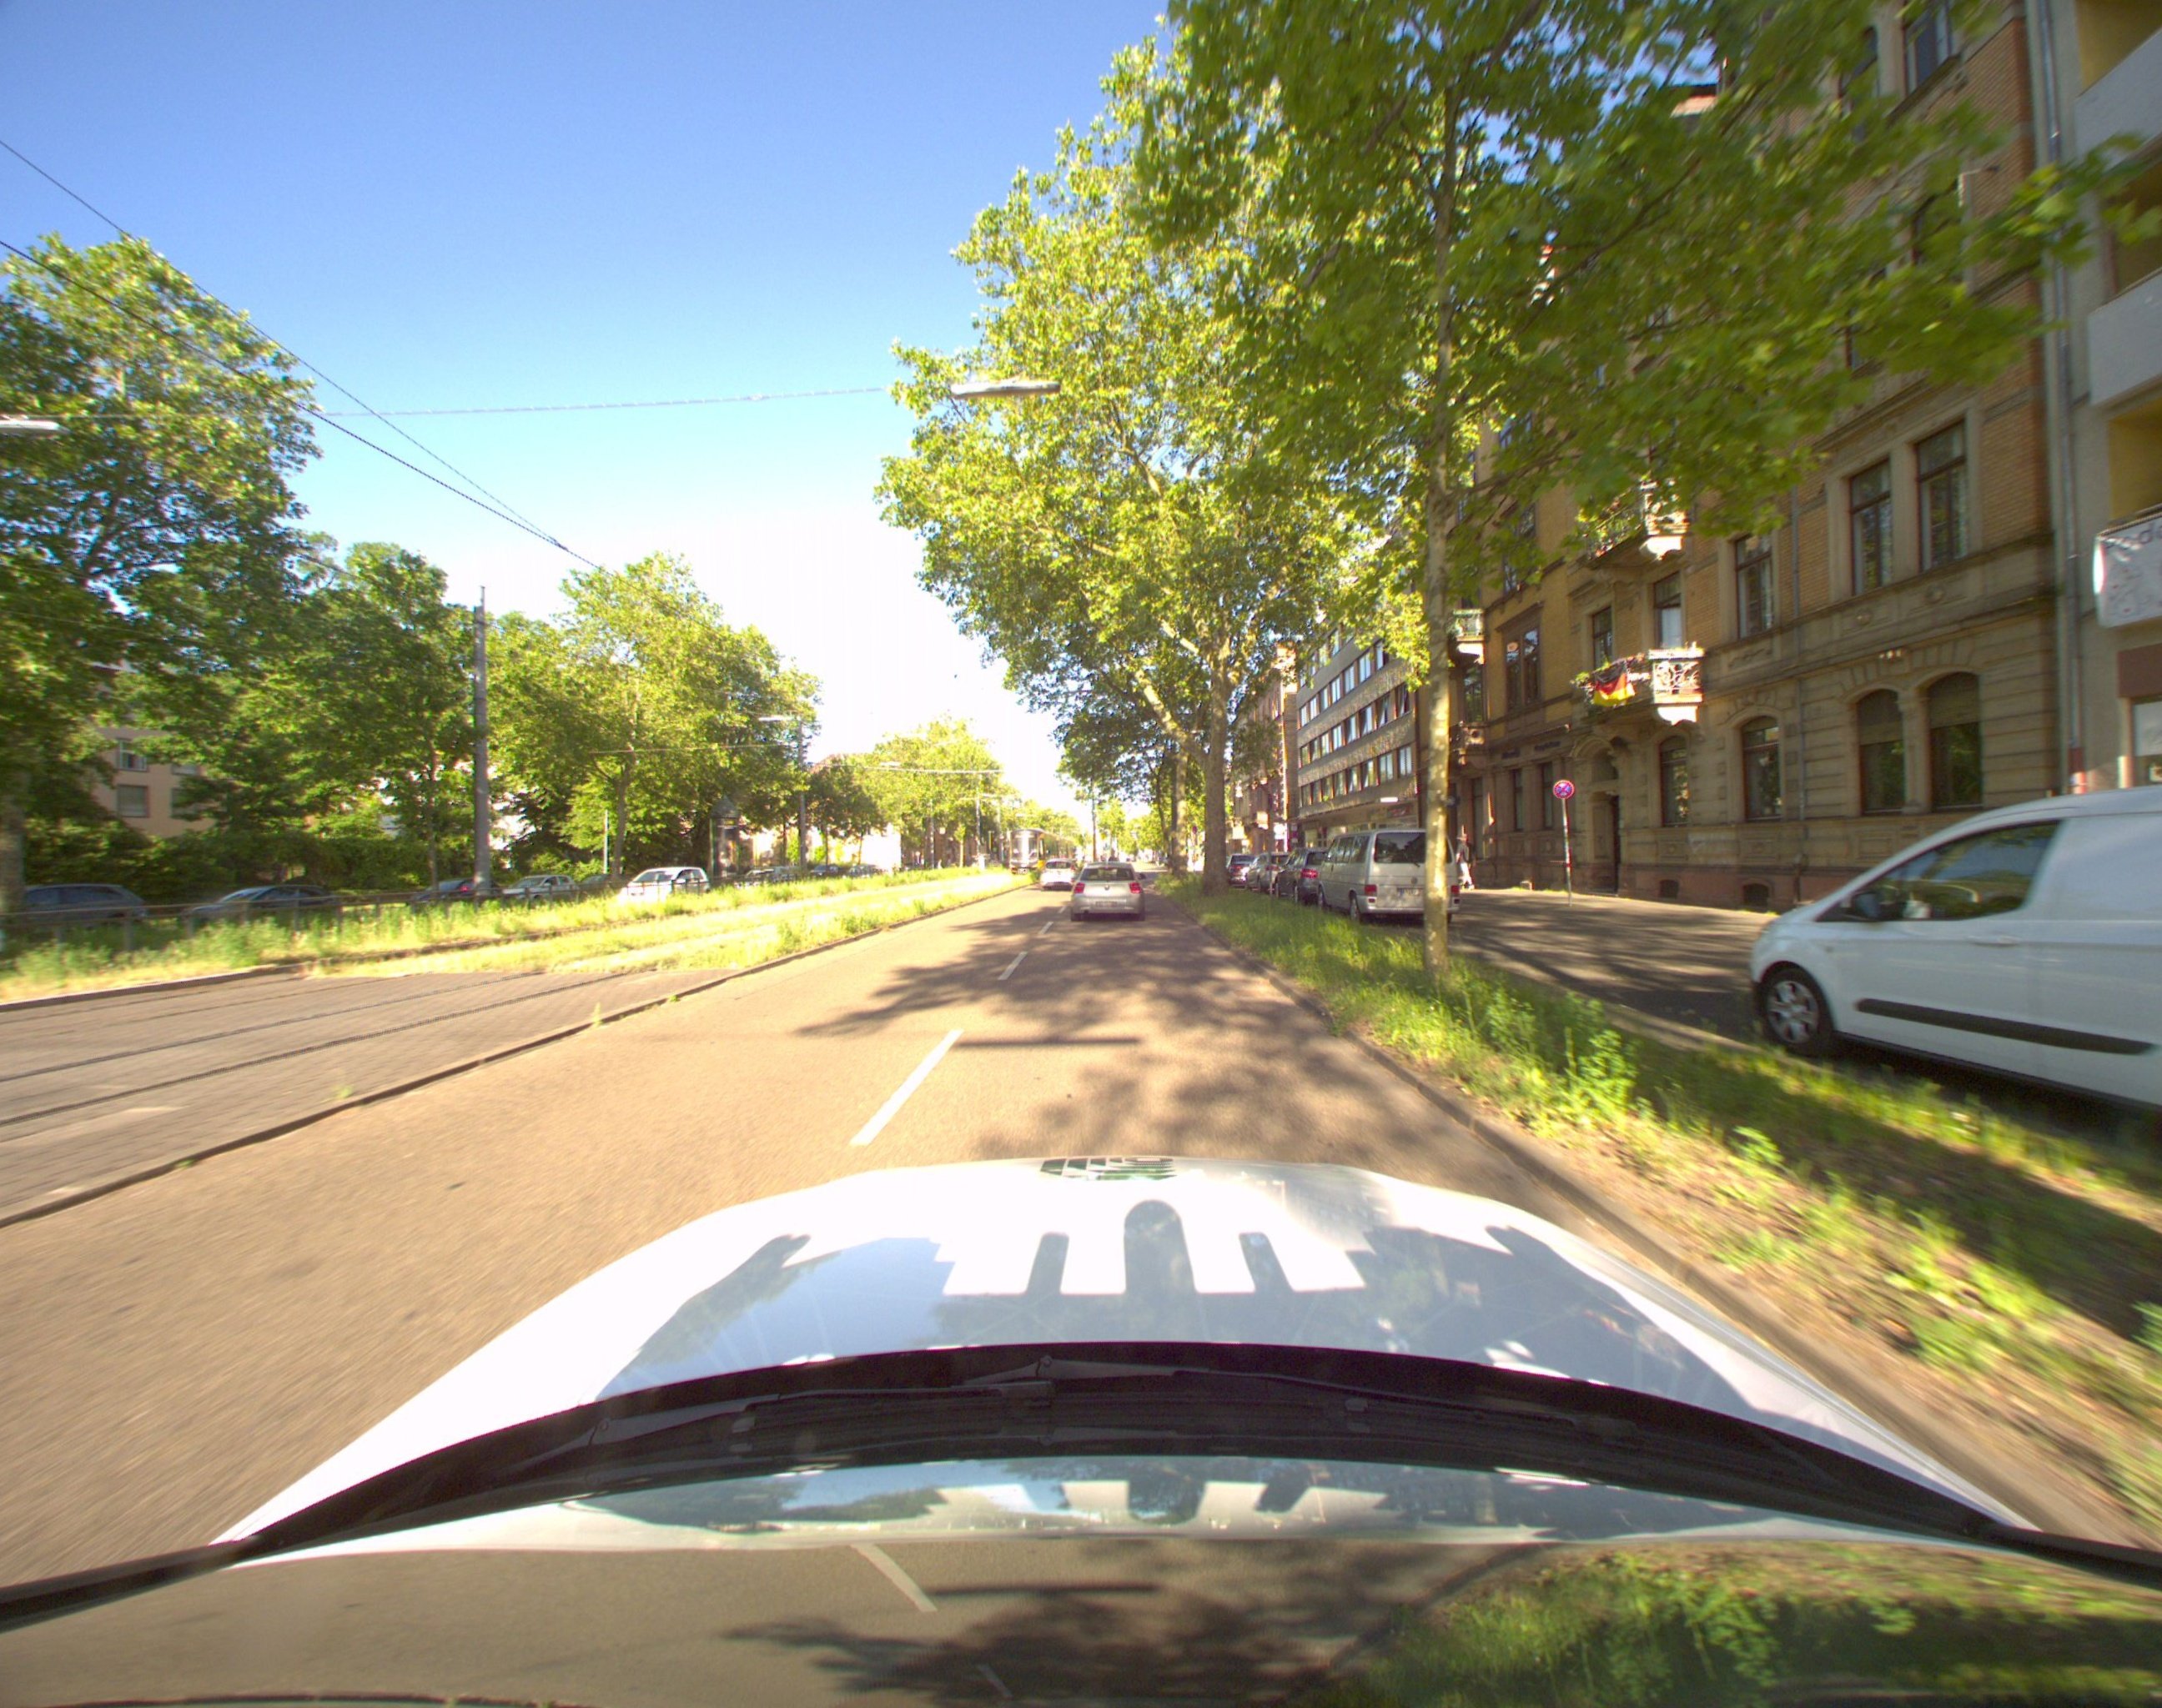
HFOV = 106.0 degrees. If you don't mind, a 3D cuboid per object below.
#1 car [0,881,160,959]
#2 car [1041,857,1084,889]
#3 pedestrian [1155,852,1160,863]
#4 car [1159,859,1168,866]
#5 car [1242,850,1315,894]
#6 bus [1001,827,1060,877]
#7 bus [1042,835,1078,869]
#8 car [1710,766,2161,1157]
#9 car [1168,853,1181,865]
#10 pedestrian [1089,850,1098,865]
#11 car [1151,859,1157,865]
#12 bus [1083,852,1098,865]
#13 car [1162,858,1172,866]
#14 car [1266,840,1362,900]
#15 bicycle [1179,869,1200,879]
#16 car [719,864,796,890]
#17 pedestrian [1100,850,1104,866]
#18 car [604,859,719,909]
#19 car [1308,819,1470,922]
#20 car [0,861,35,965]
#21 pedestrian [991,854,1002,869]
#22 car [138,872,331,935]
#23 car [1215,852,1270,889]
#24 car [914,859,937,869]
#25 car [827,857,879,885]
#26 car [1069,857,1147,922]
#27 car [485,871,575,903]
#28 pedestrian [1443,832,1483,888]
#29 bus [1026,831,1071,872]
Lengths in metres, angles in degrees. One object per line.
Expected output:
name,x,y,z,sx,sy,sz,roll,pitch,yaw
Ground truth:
car,-26.409,1.617,20.172,1.987,1.683,4.514,1,0,0
car,-0.808,0.841,37.335,1.639,1.363,3.763,1,0,4
pedestrian,13.215,0.611,141.154,0.833,2.013,0.650,1,0,10
car,17.950,1.802,177.584,1.662,1.551,4.004,1,0,4
car,7.032,0.614,29.450,1.670,1.466,4.672,1,0,2
bus,-3.712,-0.114,63.619,2.856,3.444,13.229,-1,0,4
bus,-2.153,-0.217,88.206,2.856,3.444,11.622,-1,0,4
car,5.495,0.464,4.184,1.617,1.668,4.148,1,0,5
car,15.073,0.801,130.953,1.747,1.965,4.741,-1,0,3
pedestrian,1.610,0.464,103.154,1.068,1.916,1.127,-1,0,1
car,19.634,2.183,219.325,1.693,1.534,3.720,1,0,4
bus,2.833,1.260,237.752,2.856,3.628,24.627,-1,0,4
car,18.134,1.702,172.098,1.985,1.509,4.601,1,-1,4
car,6.405,0.398,22.832,1.697,1.502,4.362,1,0,3
bicycle,10.793,1.966,80.893,2.007,0.993,0.444,1,0,1
car,-16.192,1.134,41.057,1.682,1.135,4.712,1,0,4
pedestrian,2.532,0.447,98.161,0.449,1.903,0.584,-1,0,-4
car,-14.216,0.970,27.851,1.838,1.530,3.875,1,0,1
car,6.167,0.269,16.948,1.856,1.815,4.805,1,0,4
car,-18.080,0.940,10.990,1.878,1.619,4.600,1,0,2
pedestrian,-9.397,0.810,90.729,1.174,1.643,0.891,-1,-1,-4
car,-26.430,1.486,25.654,1.814,1.683,4.002,1,0,2
car,6.986,0.673,35.670,1.797,1.490,4.925,1,0,5
car,-19.011,1.212,99.638,1.785,1.178,4.003,1,0,3
car,-13.716,0.971,49.257,1.786,1.552,4.051,1,0,3
car,0.713,0.814,20.621,1.755,1.432,4.003,1,0,3
car,-24.979,1.467,37.054,1.561,1.312,3.507,1,0,3
pedestrian,12.755,0.204,27.191,0.995,1.840,0.716,-1,0,5
bus,-2.894,-0.189,76.259,2.856,3.444,12.226,-1,0,4
